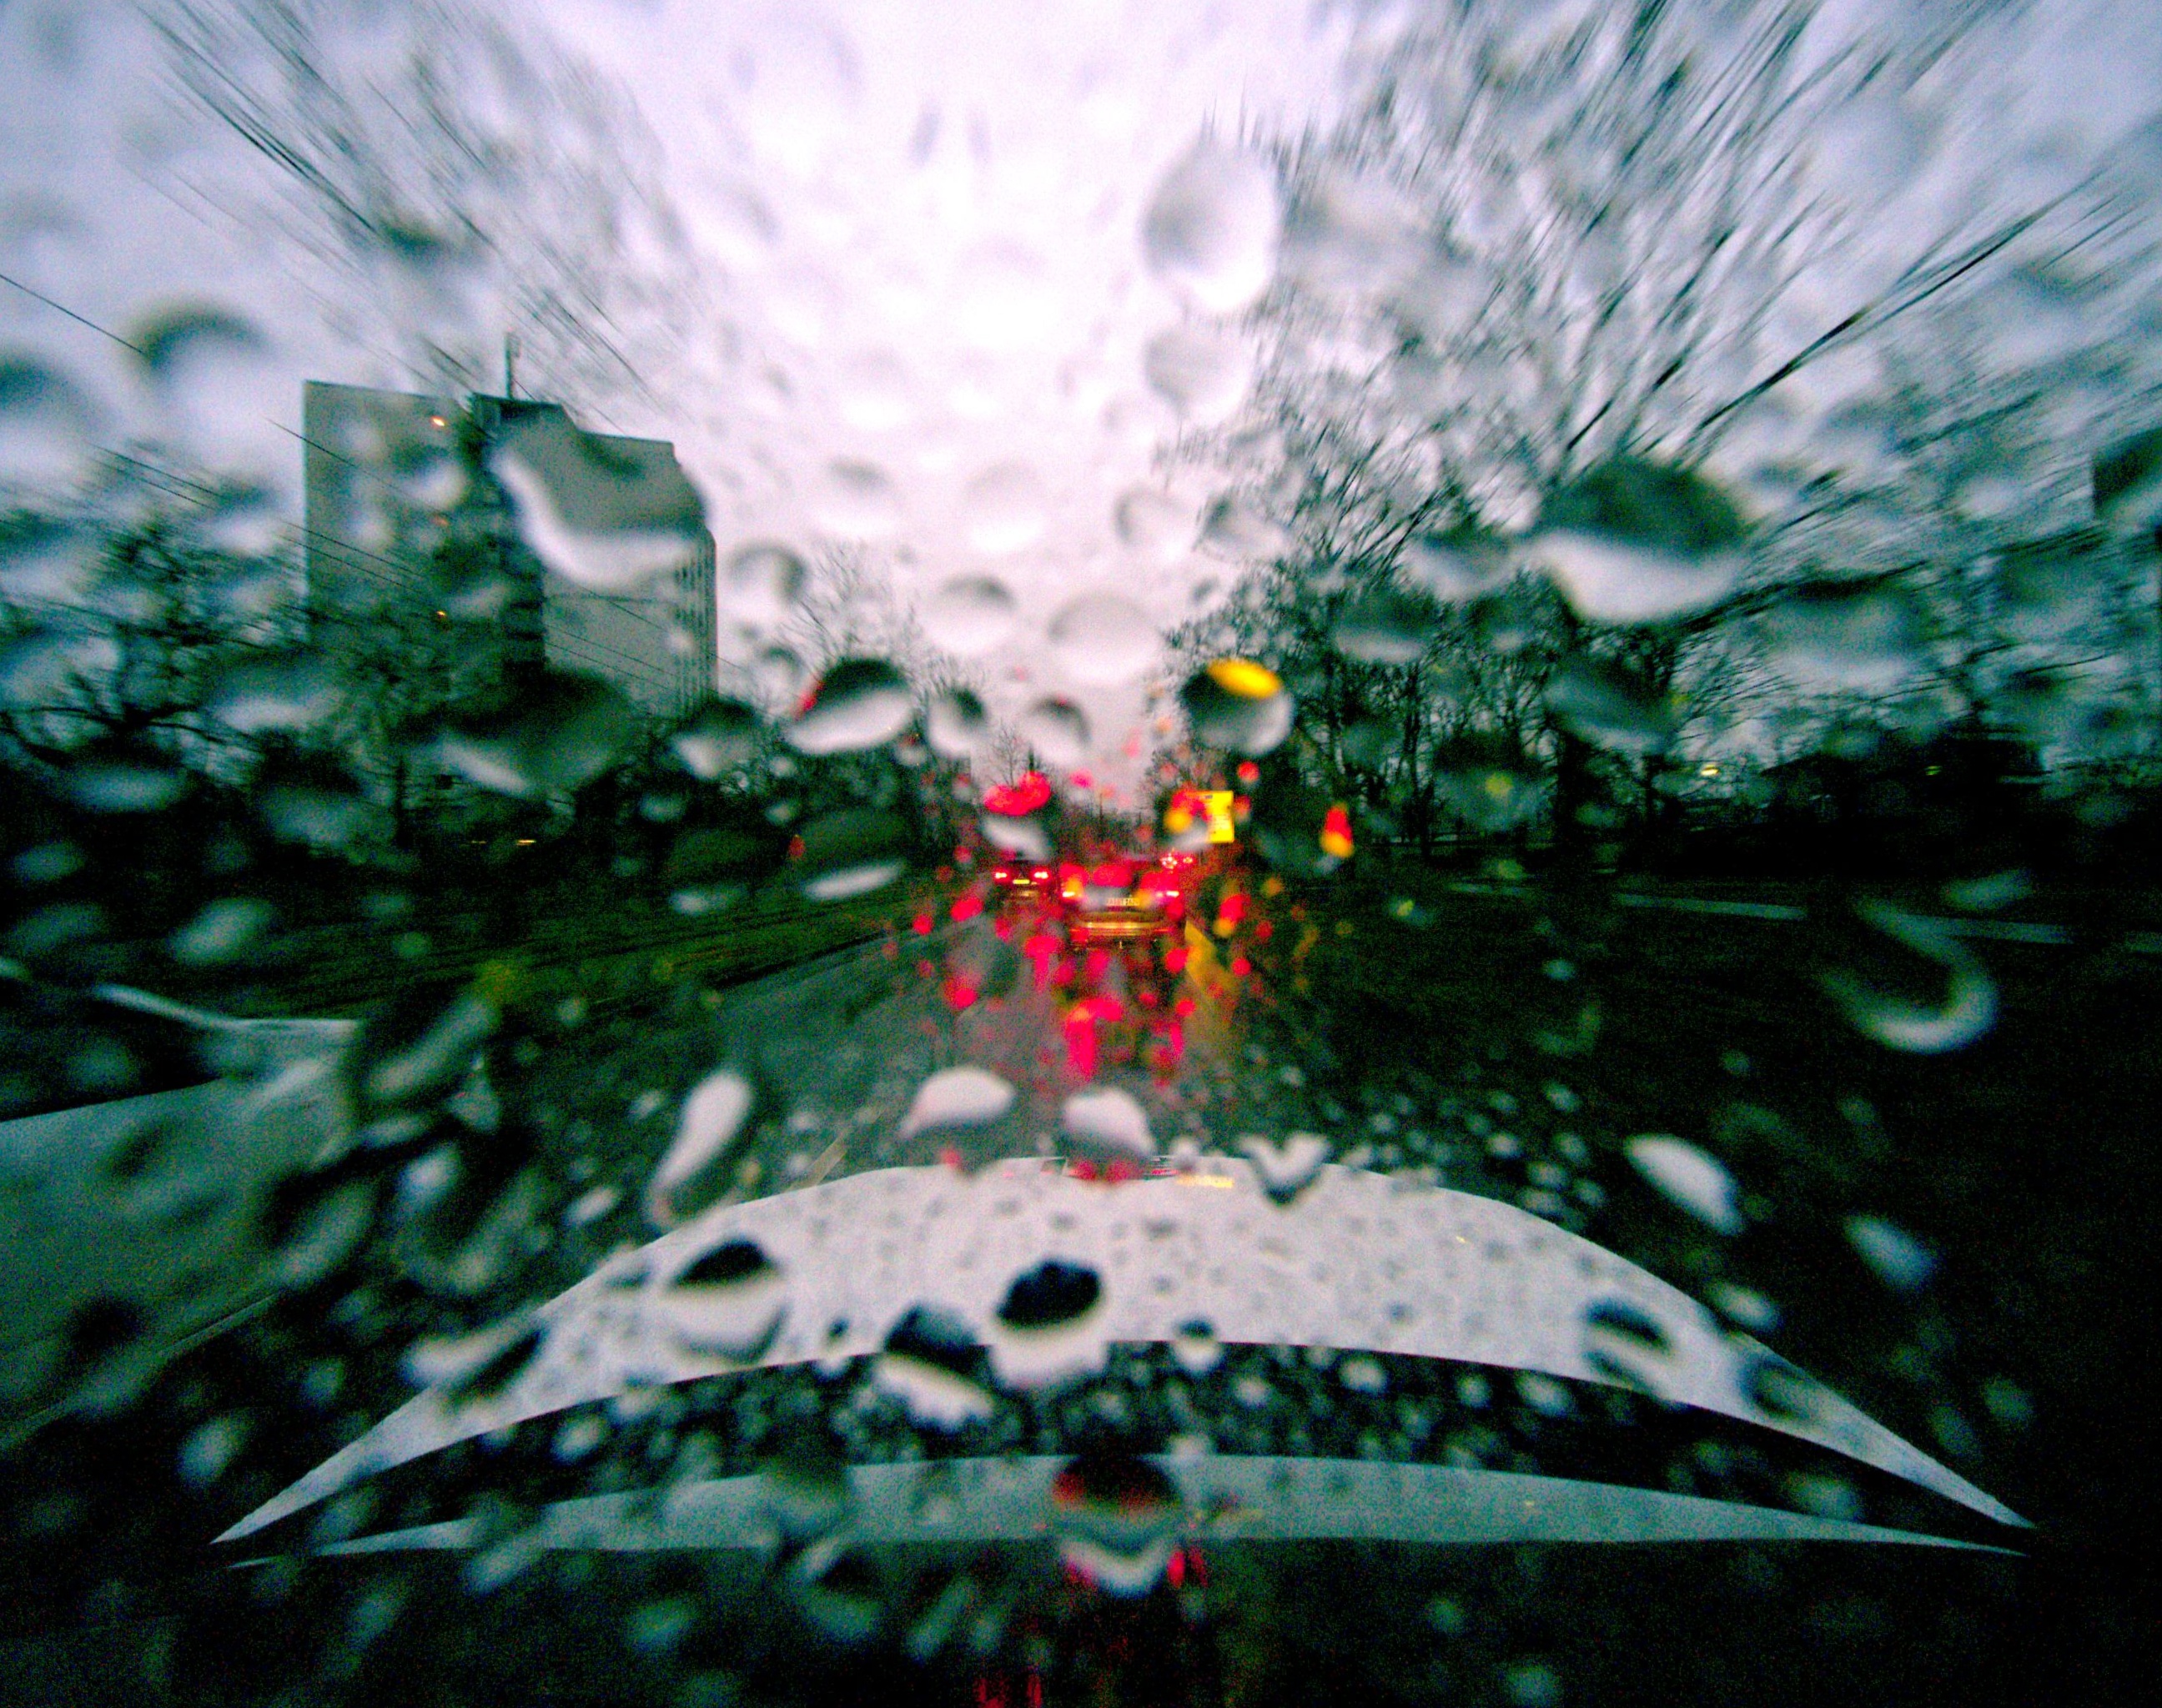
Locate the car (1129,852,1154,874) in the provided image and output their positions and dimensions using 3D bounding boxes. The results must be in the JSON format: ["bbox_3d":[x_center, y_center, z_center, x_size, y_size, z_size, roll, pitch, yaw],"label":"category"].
[{"bbox_3d":[4.585,0.666,61.724,1.702,1.558,3.998,-1,0,2],"label":"car"}]

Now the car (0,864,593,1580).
[{"bbox_3d":[-3.192,0.814,1.681,1.702,1.525,4.137,-1,0,3],"label":"car"}]

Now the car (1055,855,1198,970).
[{"bbox_3d":[0.611,0.829,13.462,1.992,1.584,3.998,-1,0,-1],"label":"car"}]

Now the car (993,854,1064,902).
[{"bbox_3d":[-1.685,0.742,27.370,1.872,1.459,4.004,-1,0,3],"label":"car"}]

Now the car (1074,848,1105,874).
[{"bbox_3d":[0.633,0.450,54.956,1.872,1.593,4.003,-1,0,3],"label":"car"}]
